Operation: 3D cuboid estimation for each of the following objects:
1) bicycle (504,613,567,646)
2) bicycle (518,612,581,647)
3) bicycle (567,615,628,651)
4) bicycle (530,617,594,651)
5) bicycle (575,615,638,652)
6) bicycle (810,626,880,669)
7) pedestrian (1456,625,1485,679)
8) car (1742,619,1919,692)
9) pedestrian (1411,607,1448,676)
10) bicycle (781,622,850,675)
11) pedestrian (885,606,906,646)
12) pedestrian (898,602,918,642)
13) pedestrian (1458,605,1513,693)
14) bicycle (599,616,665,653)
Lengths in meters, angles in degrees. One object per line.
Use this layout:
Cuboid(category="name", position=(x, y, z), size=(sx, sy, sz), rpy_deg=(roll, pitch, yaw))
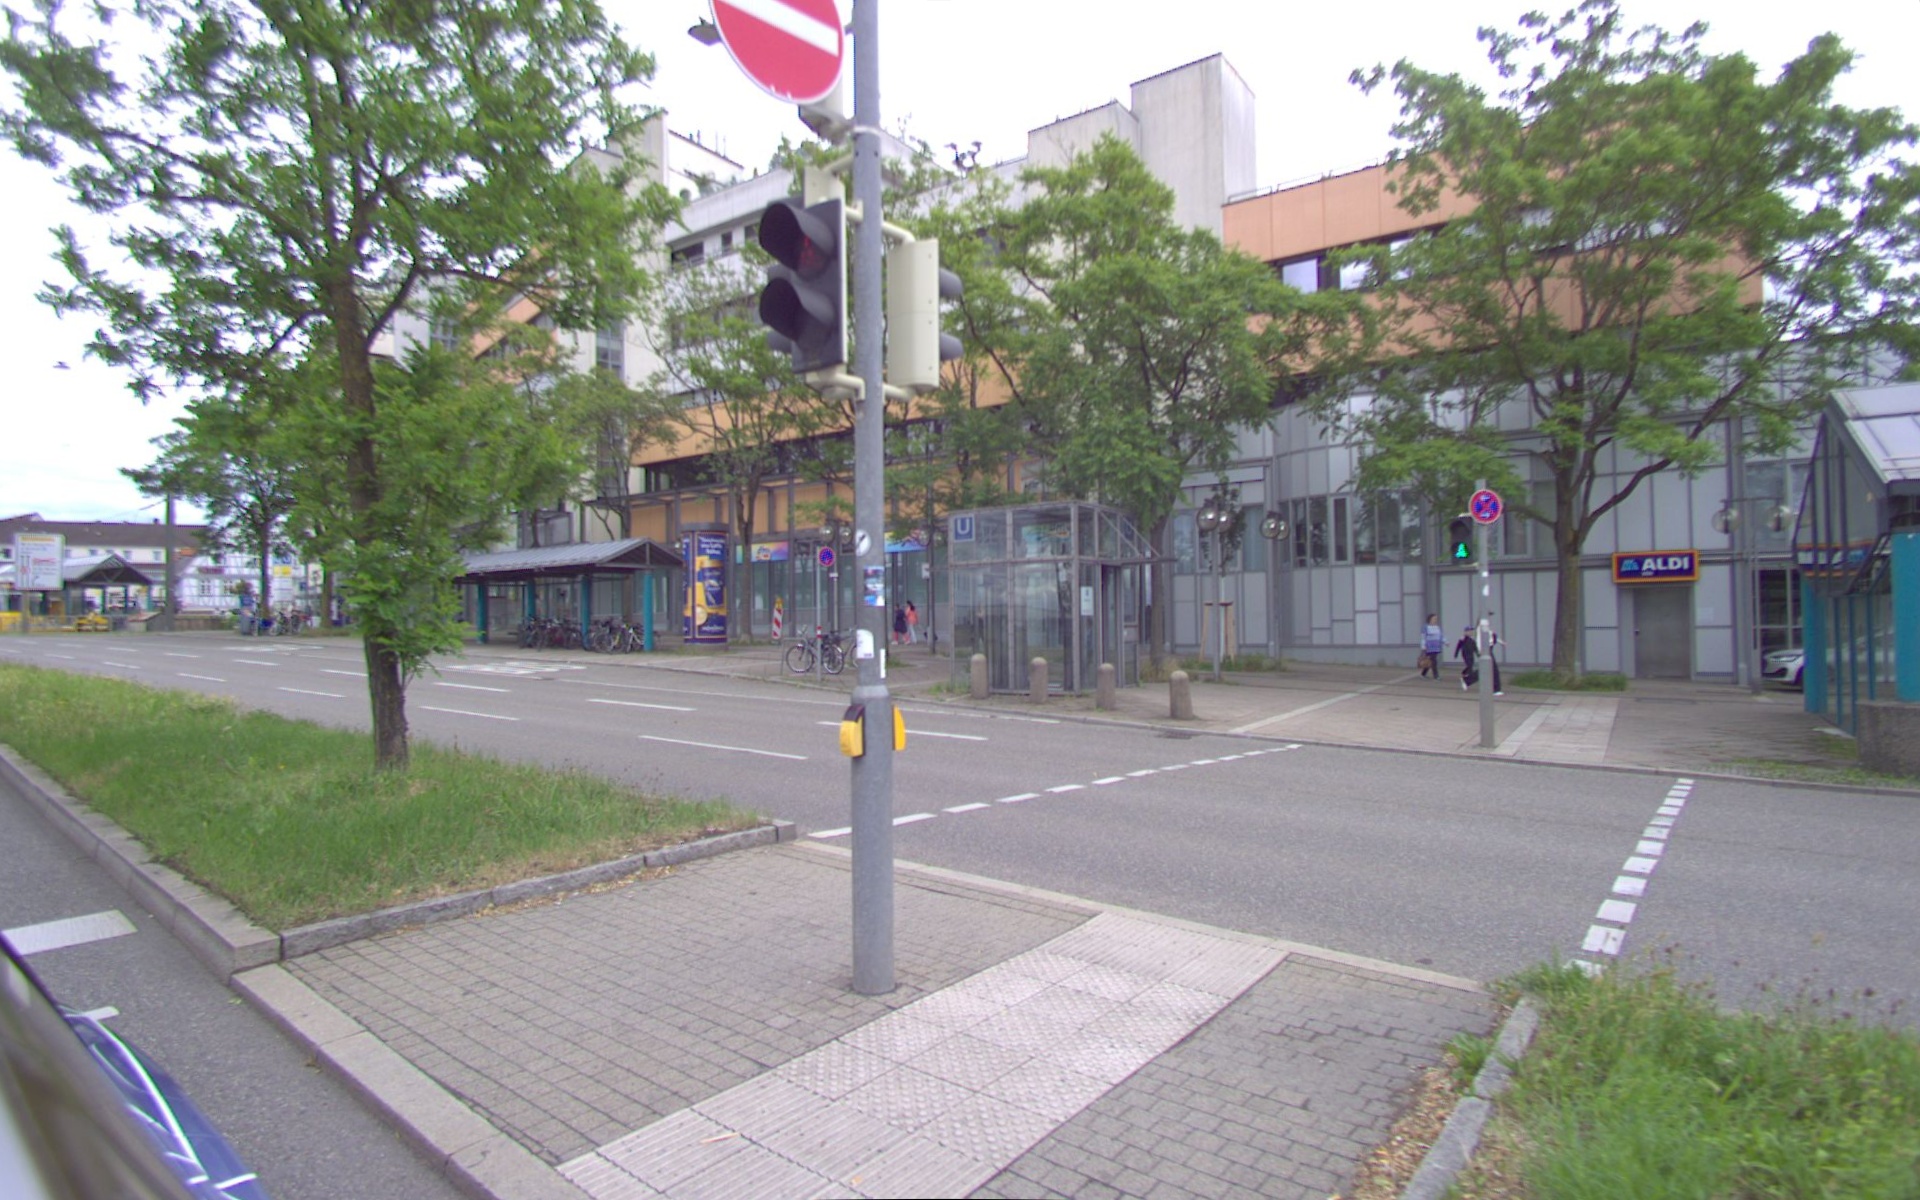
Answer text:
Cuboid(category="bicycle", position=(-15.168, 1.051, 36.205), size=(0.542, 1.098, 2.043), rpy_deg=(0, 1, 39))
Cuboid(category="bicycle", position=(-14.451, 1.024, 35.637), size=(0.542, 1.147, 2.043), rpy_deg=(0, 1, 39))
Cuboid(category="bicycle", position=(-12.295, 1.104, 34.397), size=(0.541, 1.098, 2.047), rpy_deg=(0, 1, 34))
Cuboid(category="bicycle", position=(-13.698, 1.159, 34.898), size=(0.542, 1.098, 2.043), rpy_deg=(0, 1, 39))
Cuboid(category="bicycle", position=(-11.711, 1.102, 33.619), size=(0.541, 1.147, 2.047), rpy_deg=(0, 1, 34))
Cuboid(category="bicycle", position=(-2.941, 1.192, 25.699), size=(2.049, 1.034, 0.514), rpy_deg=(-1, 0, 41))
Cuboid(category="pedestrian", position=(11.649, 1.169, 23.084), size=(0.514, 1.201, 0.378), rpy_deg=(-1, -1, 41))
Cuboid(category="car", position=(19.106, 1.119, 20.789), size=(4.719, 1.411, 1.671), rpy_deg=(0, -1, 42))
Cuboid(category="pedestrian", position=(10.905, 0.956, 23.514), size=(0.638, 1.558, 0.679), rpy_deg=(0, -1, 39))
Cuboid(category="bicycle", position=(-3.545, 1.152, 24.667), size=(1.948, 1.234, 0.514), rpy_deg=(-1, 0, 41))
Cuboid(category="pedestrian", position=(-2.327, 0.941, 36.618), size=(0.580, 1.443, 0.456), rpy_deg=(0, -1, 41))
Cuboid(category="pedestrian", position=(-1.902, 0.811, 37.091), size=(0.580, 1.443, 0.456), rpy_deg=(0, -1, 41))
Cuboid(category="pedestrian", position=(10.427, 0.947, 20.082), size=(0.827, 1.692, 0.769), rpy_deg=(-1, -1, 41))
Cuboid(category="bicycle", position=(-10.746, 1.107, 33.203), size=(0.541, 1.098, 2.182), rpy_deg=(0, 1, 34))
